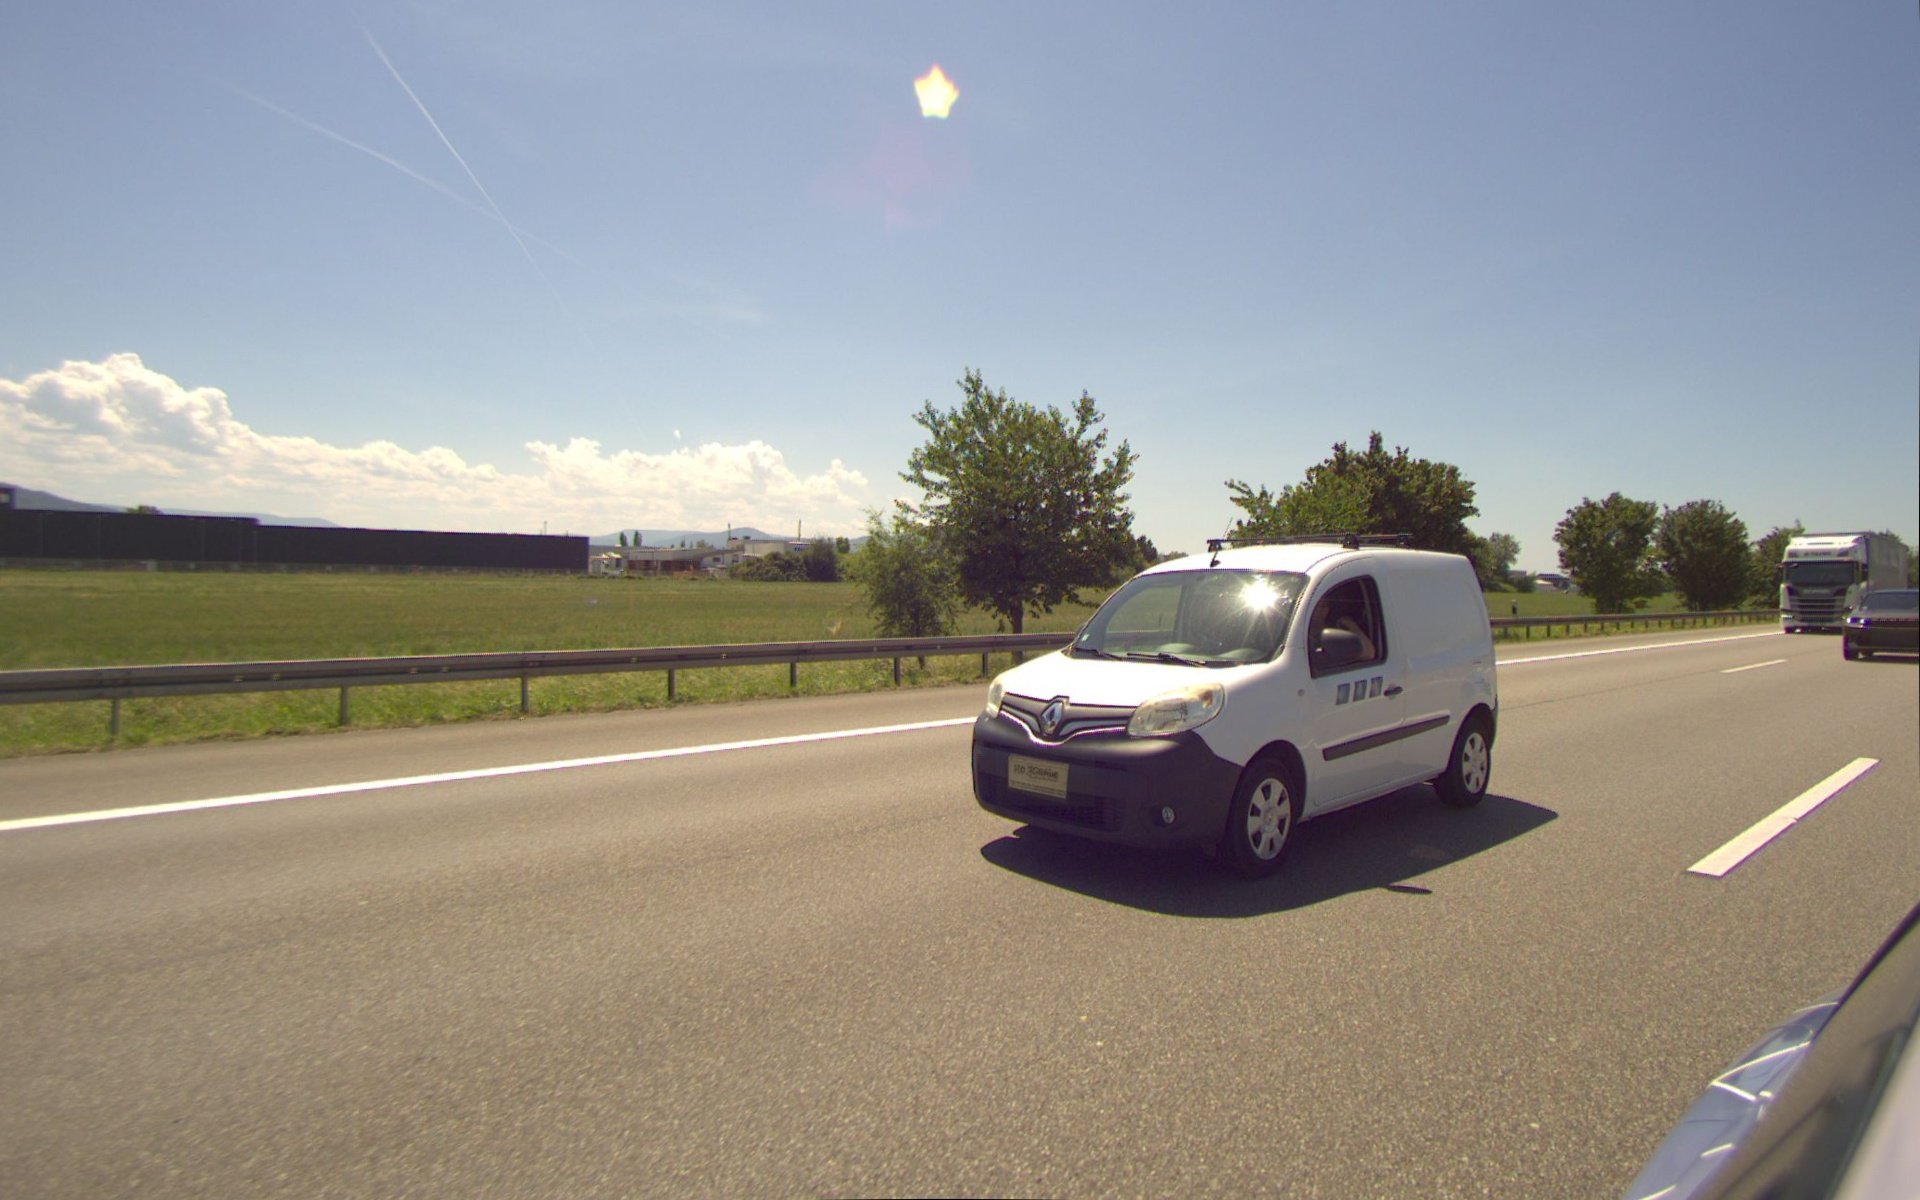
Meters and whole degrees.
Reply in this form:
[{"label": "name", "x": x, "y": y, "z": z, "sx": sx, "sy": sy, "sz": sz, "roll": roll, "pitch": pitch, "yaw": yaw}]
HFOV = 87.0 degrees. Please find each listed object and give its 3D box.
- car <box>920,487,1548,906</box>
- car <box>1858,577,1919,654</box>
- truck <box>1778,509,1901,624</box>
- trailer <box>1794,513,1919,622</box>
[{"label": "car", "x": 2.098, "y": 0.419, "z": 6.804, "sx": 4.621, "sy": 1.886, "sz": 1.856, "roll": 0, "pitch": 0, "yaw": -41}, {"label": "car", "x": 22.796, "y": 0.321, "z": 23.788, "sx": 4.662, "sy": 1.696, "sz": 1.871, "roll": 0, "pitch": 0, "yaw": -40}, {"label": "truck", "x": 36.539, "y": -1.296, "z": 41.954, "sx": 7.066, "sy": 4.359, "sz": 2.815, "roll": 0, "pitch": 0, "yaw": -40}, {"label": "trailer", "x": 41.323, "y": -1.333, "z": 46.029, "sx": 14.003, "sy": 4.359, "sz": 2.815, "roll": 0, "pitch": 0, "yaw": -40}]
